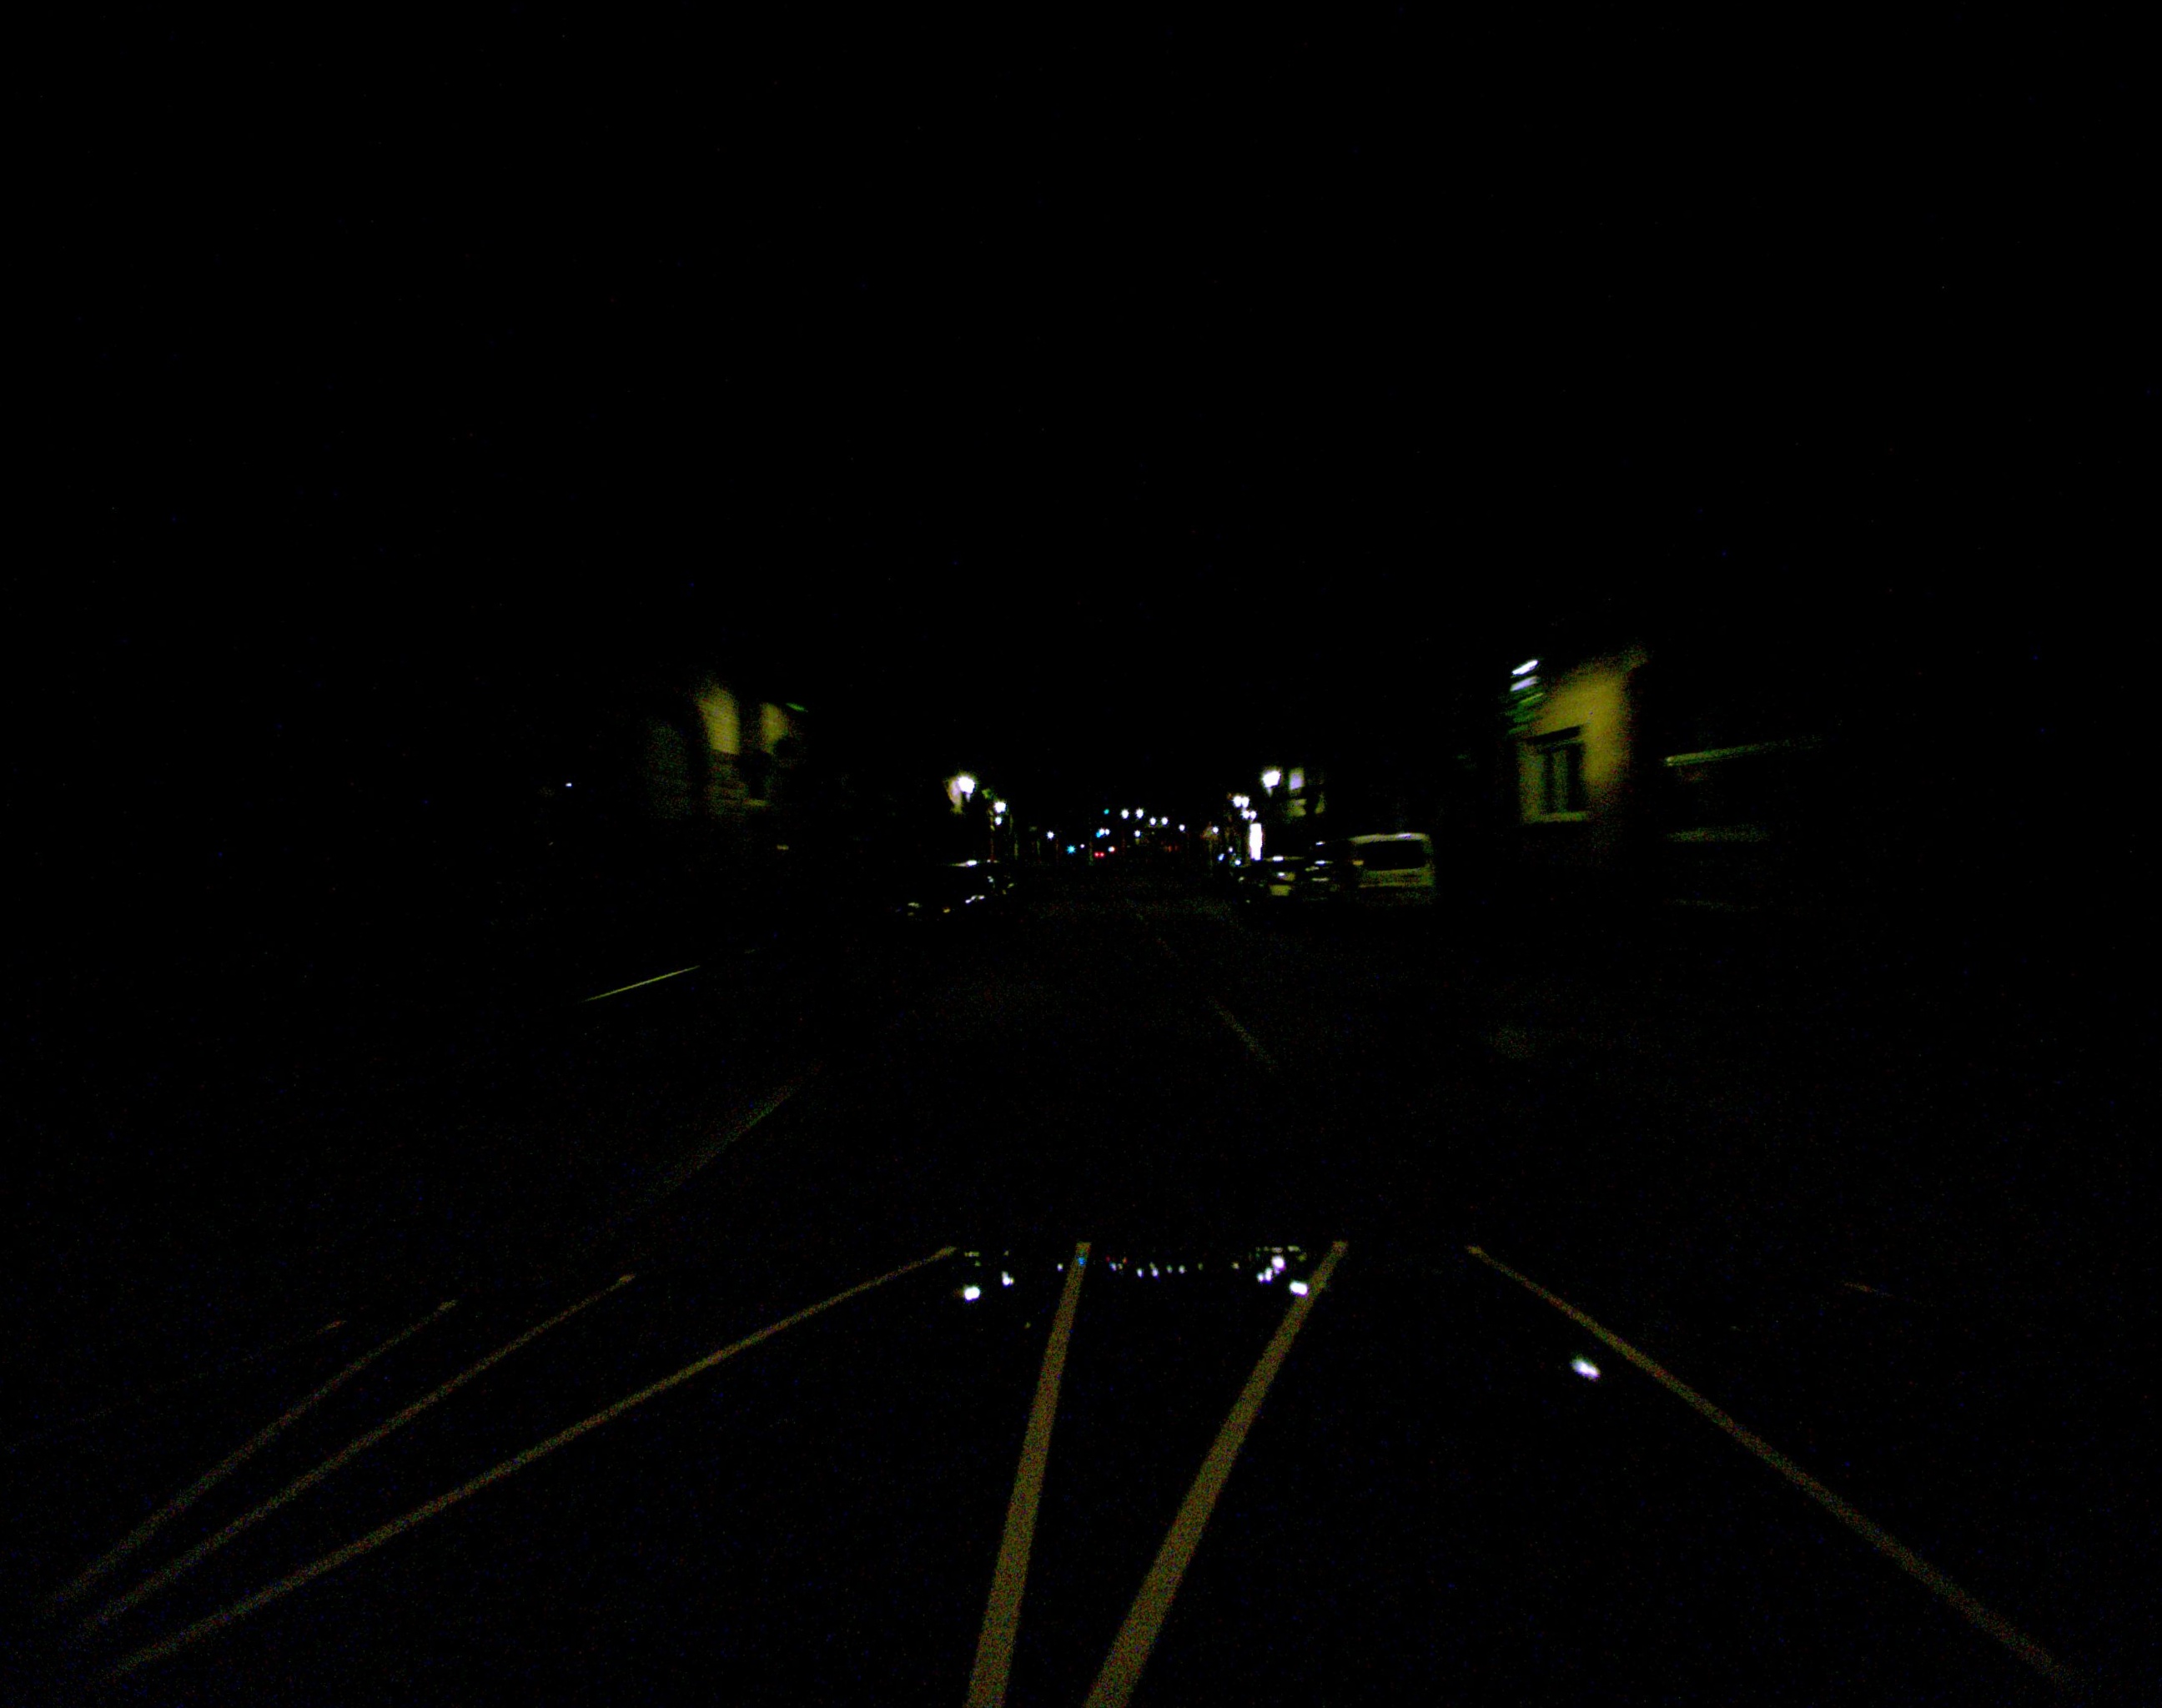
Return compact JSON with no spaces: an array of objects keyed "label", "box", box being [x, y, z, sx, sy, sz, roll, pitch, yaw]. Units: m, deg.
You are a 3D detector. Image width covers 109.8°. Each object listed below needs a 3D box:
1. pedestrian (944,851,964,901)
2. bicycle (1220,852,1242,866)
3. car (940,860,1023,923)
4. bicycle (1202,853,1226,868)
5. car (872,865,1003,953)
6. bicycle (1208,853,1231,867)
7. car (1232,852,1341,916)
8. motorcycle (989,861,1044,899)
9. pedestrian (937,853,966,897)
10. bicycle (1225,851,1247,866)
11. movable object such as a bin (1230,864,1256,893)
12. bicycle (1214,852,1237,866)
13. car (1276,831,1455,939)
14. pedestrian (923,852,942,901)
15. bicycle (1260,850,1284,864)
[{"label":"pedestrian","box":[-4.438,0.755,26.560,0.508,1.699,0.705,-1,1,2]},{"label":"bicycle","box":[12.287,0.425,62.385,0.583,1.144,1.773,-3,2,-41]},{"label":"car","box":[-2.625,0.940,21.049,1.737,1.492,4.466,0,1,0]},{"label":"bicycle","box":[10.632,0.492,60.748,1.783,1.144,0.761,-1,2,43]},{"label":"car","box":[-2.804,1.026,15.767,1.740,1.446,4.000,-1,1,3]},{"label":"bicycle","box":[11.205,0.472,61.381,1.772,1.144,0.615,-1,2,43]},{"label":"car","box":[5.622,0.751,21.448,1.843,1.441,4.881,-3,1,2]},{"label":"motorcycle","box":[-2.469,0.979,29.184,1.948,1.345,0.761,-2,1,-34]},{"label":"pedestrian","box":[-4.936,0.790,28.964,0.809,1.622,0.966,-3,1,2]},{"label":"bicycle","box":[12.764,0.373,62.761,0.583,1.144,1.773,-3,2,-41]},{"label":"movable object such as a bin","box":[6.180,0.927,28.960,0.690,1.044,0.624,-5,3,-39]},{"label":"bicycle","box":[11.733,0.405,61.923,1.772,1.144,0.583,-1,2,43]},{"label":"car","box":[5.667,0.530,15.876,1.888,1.833,4.814,-2,1,0]},{"label":"pedestrian","box":[-5.185,0.772,26.520,0.478,1.699,0.571,-1,1,2]},{"label":"bicycle","box":[16.256,0.236,64.592,1.865,1.128,0.726,-1,2,43]}]
